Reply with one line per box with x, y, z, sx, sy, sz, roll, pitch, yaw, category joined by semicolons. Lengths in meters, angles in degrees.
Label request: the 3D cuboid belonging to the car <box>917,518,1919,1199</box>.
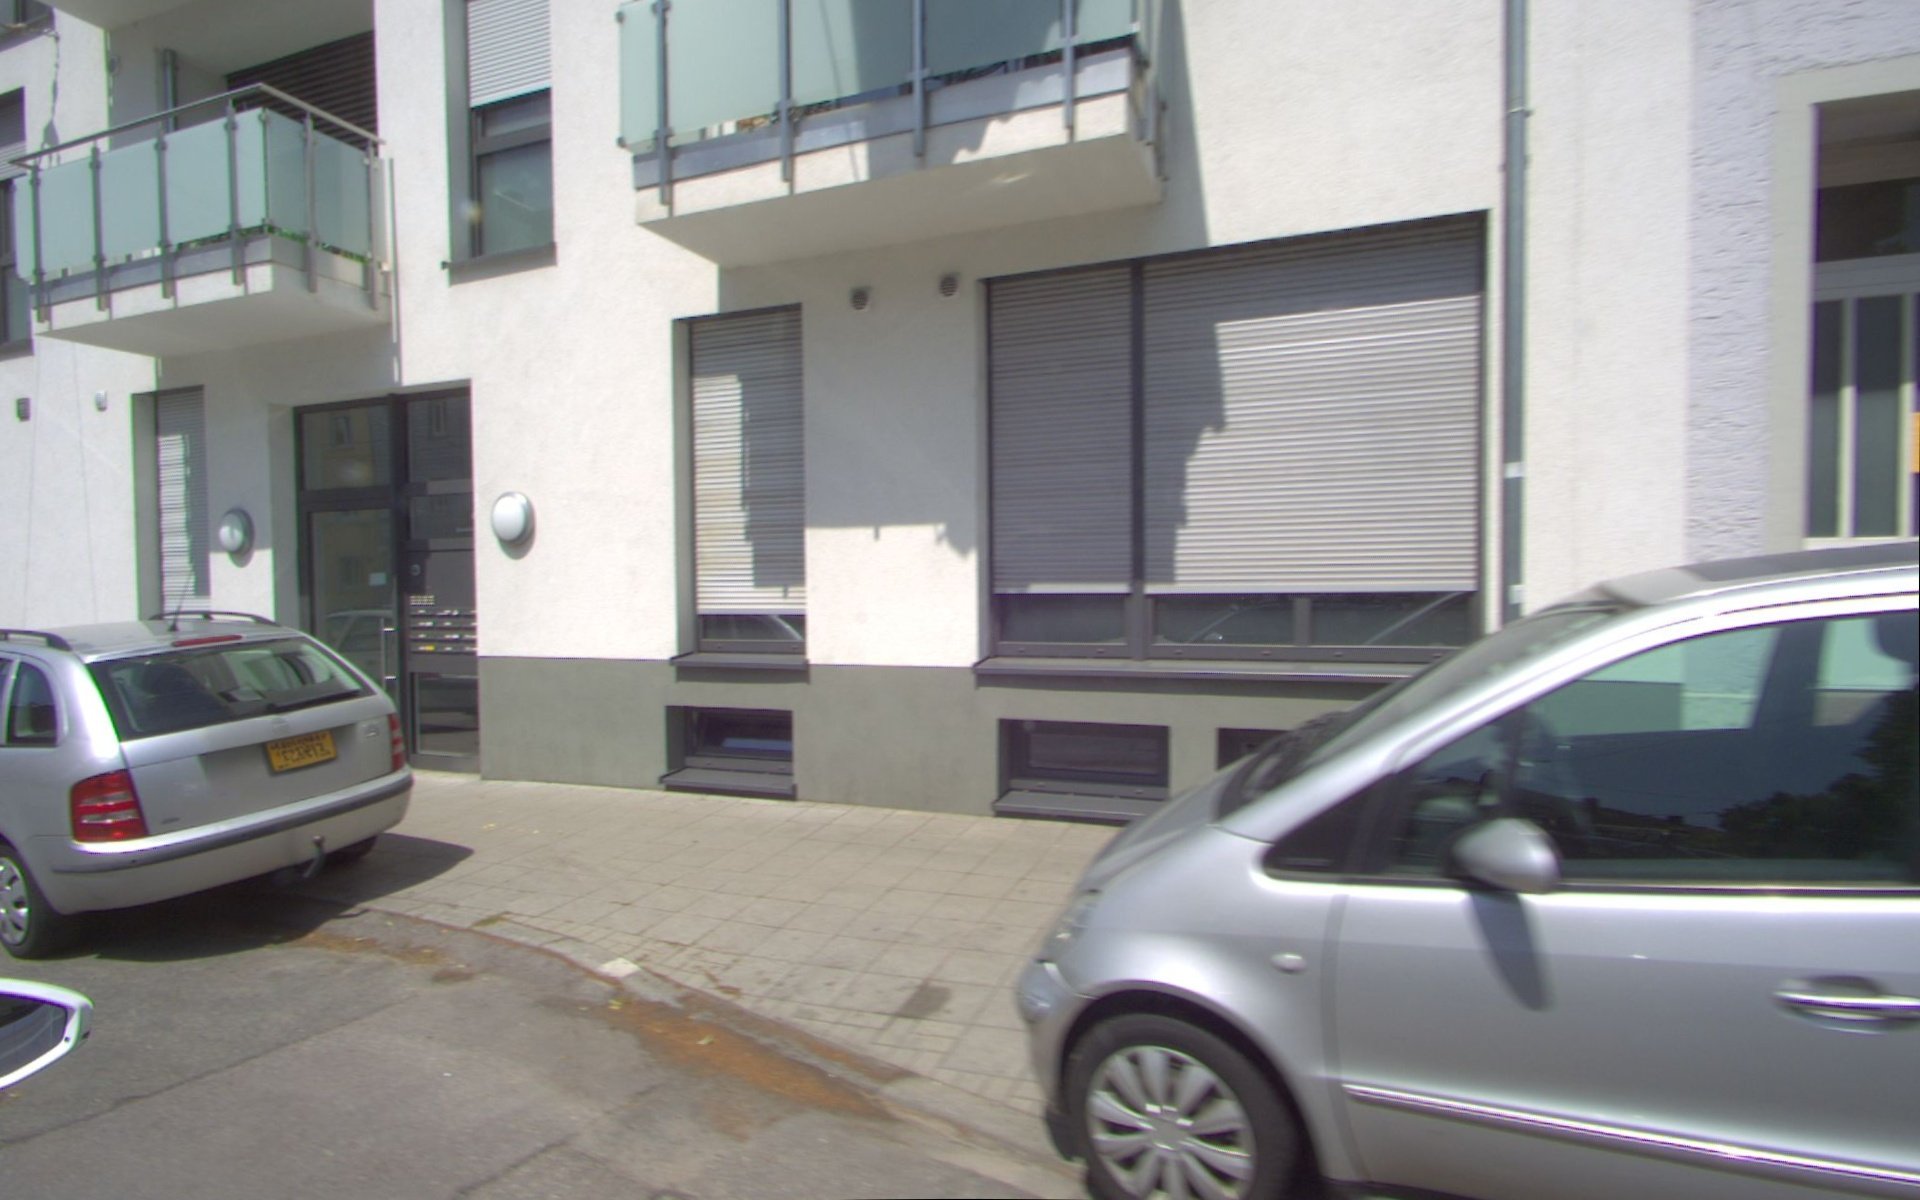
1.959;0.645;2.460;3.742;1.633;1.724;-1;2;29;car

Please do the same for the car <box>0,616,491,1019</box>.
-4.758;0.895;5.552;3.977;1.453;1.724;-1;4;26;car
